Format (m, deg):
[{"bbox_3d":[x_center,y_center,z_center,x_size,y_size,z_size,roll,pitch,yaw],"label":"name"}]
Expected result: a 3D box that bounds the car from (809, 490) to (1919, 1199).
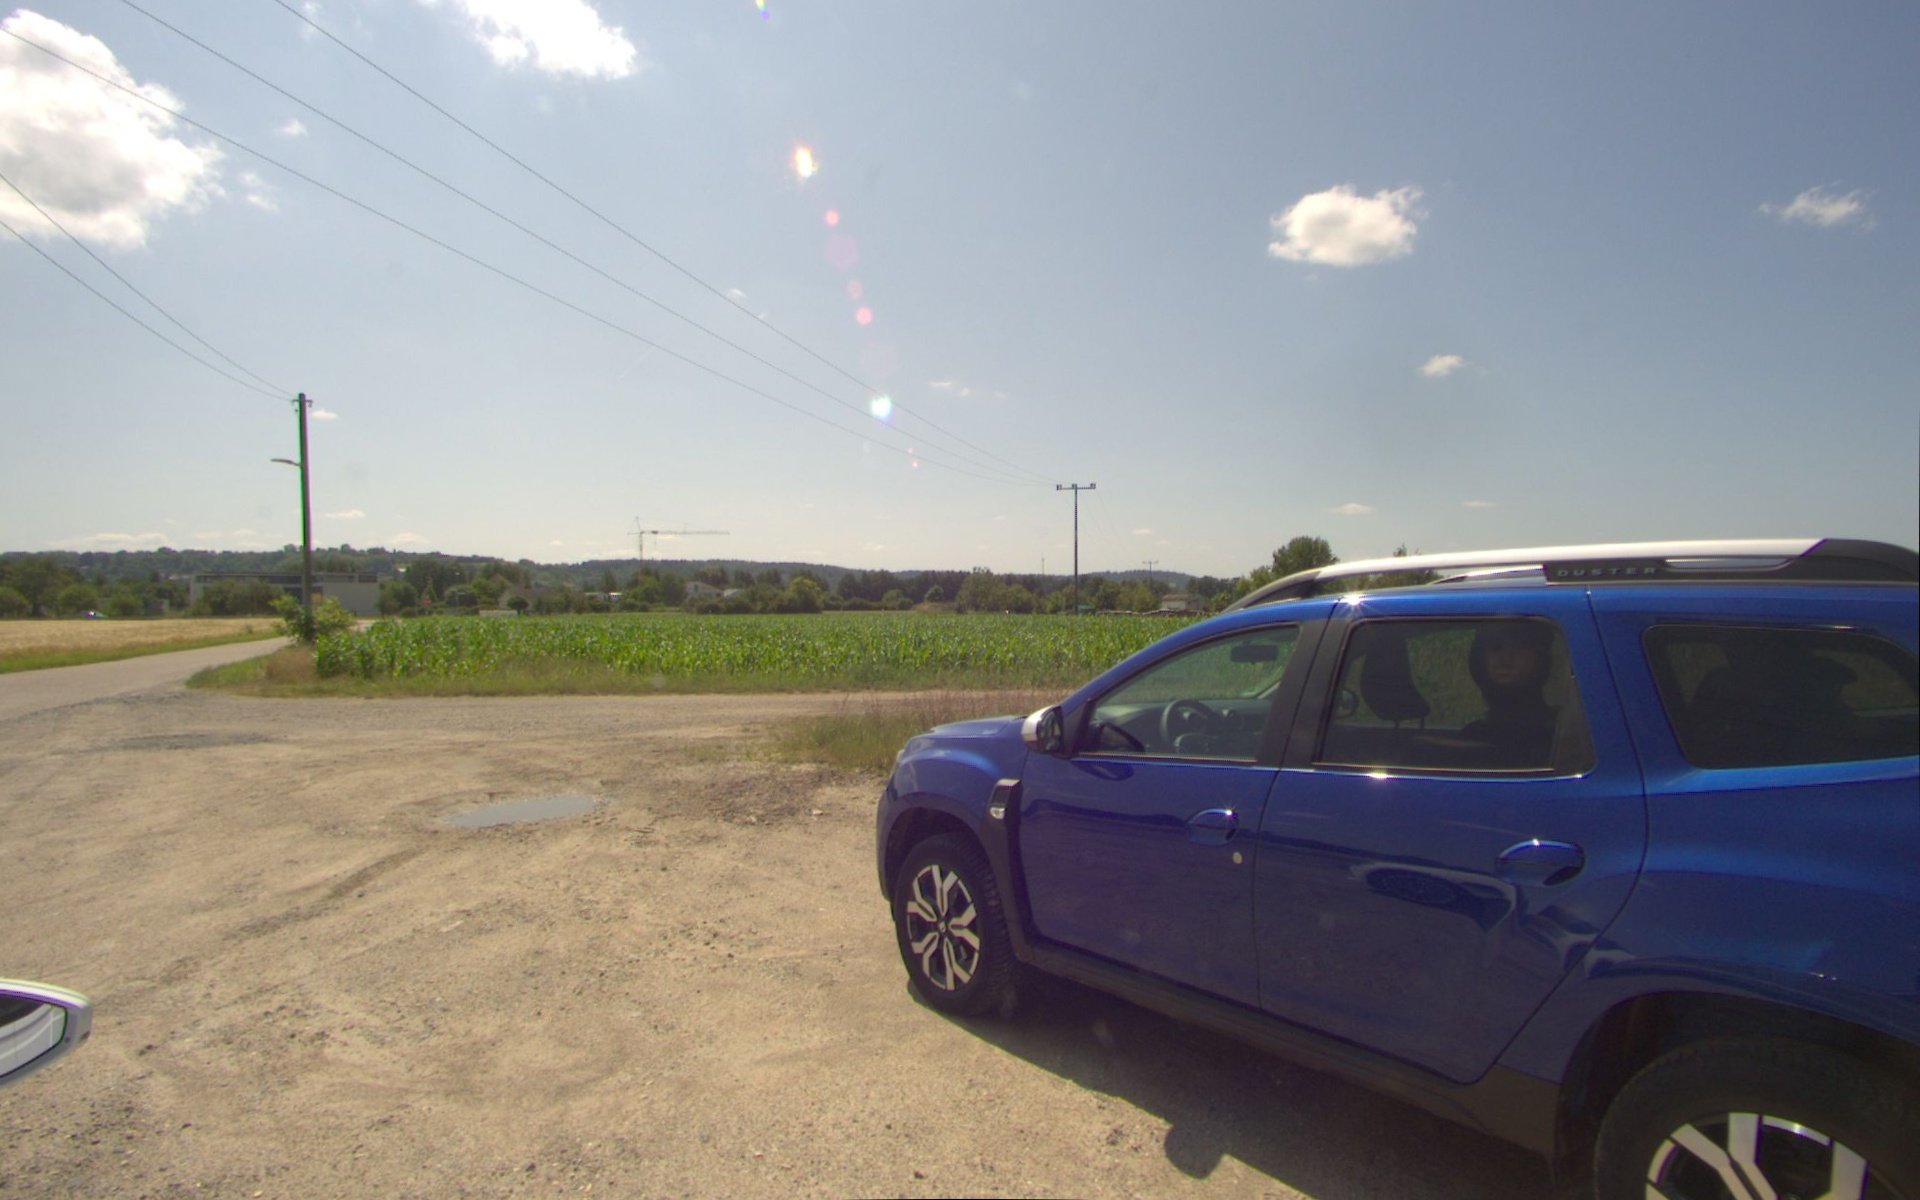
[{"bbox_3d":[1.397,0.708,3.367,1.843,1.682,4.424,1,-2,-38],"label":"car"}]
